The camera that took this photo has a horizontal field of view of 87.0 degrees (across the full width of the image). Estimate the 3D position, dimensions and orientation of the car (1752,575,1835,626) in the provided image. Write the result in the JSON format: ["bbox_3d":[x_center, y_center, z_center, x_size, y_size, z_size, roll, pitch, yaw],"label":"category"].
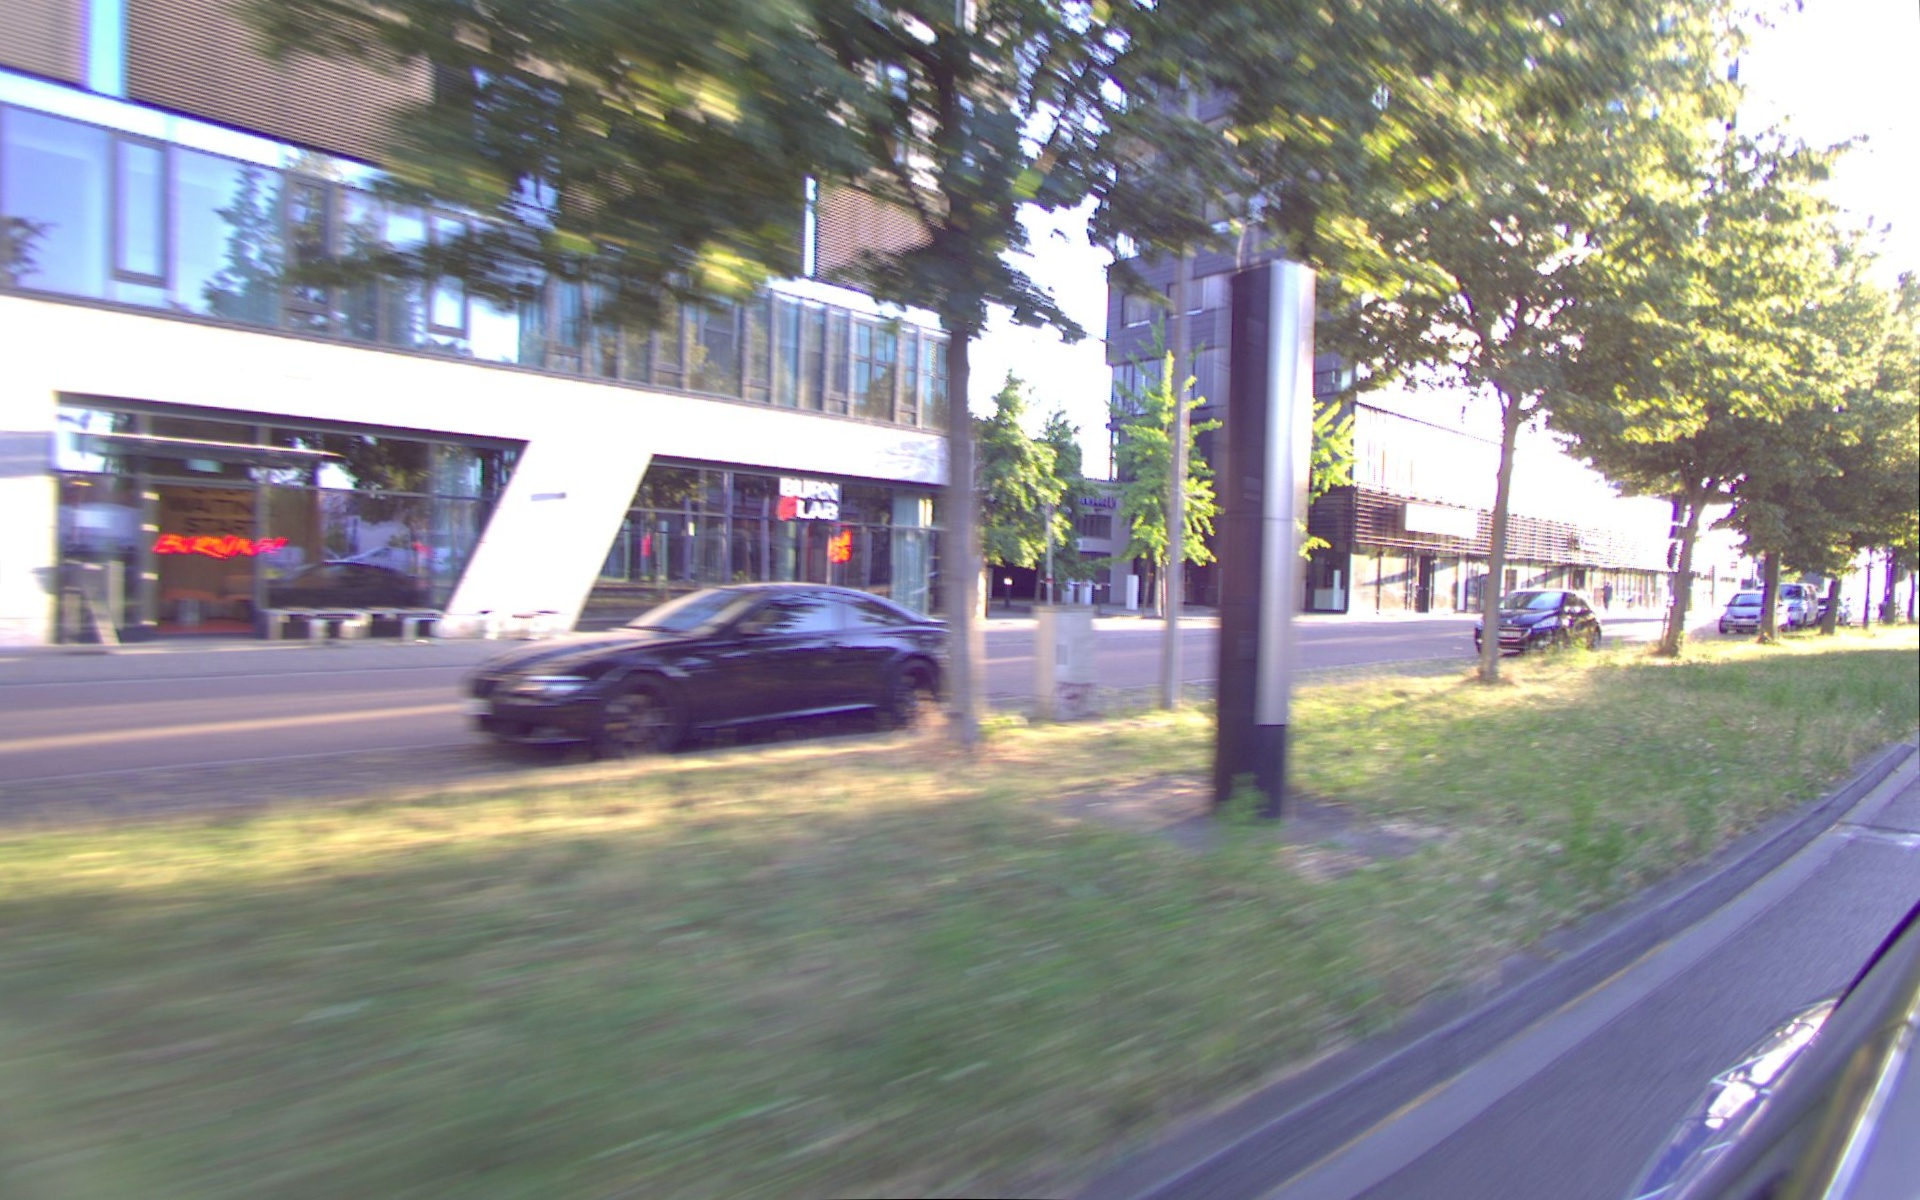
[{"bbox_3d":[34.747,-0.008,42.141,4.848,2.014,1.989,0,1,-43],"label":"car"}]

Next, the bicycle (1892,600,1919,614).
[{"bbox_3d":[62.901,0.463,67.152,0.355,0.921,1.726,2,1,-9],"label":"bicycle"}]

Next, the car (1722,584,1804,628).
[{"bbox_3d":[30.411,0.199,38.294,3.992,1.590,1.841,0,1,-43],"label":"car"}]

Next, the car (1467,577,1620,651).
[{"bbox_3d":[13.005,0.301,22.468,3.931,1.513,1.783,0,-1,-42],"label":"car"}]

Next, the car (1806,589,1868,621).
[{"bbox_3d":[44.442,0.237,51.243,4.957,1.515,1.919,0,1,-44],"label":"car"}]

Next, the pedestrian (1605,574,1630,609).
[{"bbox_3d":[35.089,-0.437,54.014,0.897,1.819,0.898,1,2,-43],"label":"pedestrian"}]

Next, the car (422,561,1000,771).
[{"bbox_3d":[-1.960,0.408,9.086,4.754,1.384,1.854,0,2,-44],"label":"car"}]
